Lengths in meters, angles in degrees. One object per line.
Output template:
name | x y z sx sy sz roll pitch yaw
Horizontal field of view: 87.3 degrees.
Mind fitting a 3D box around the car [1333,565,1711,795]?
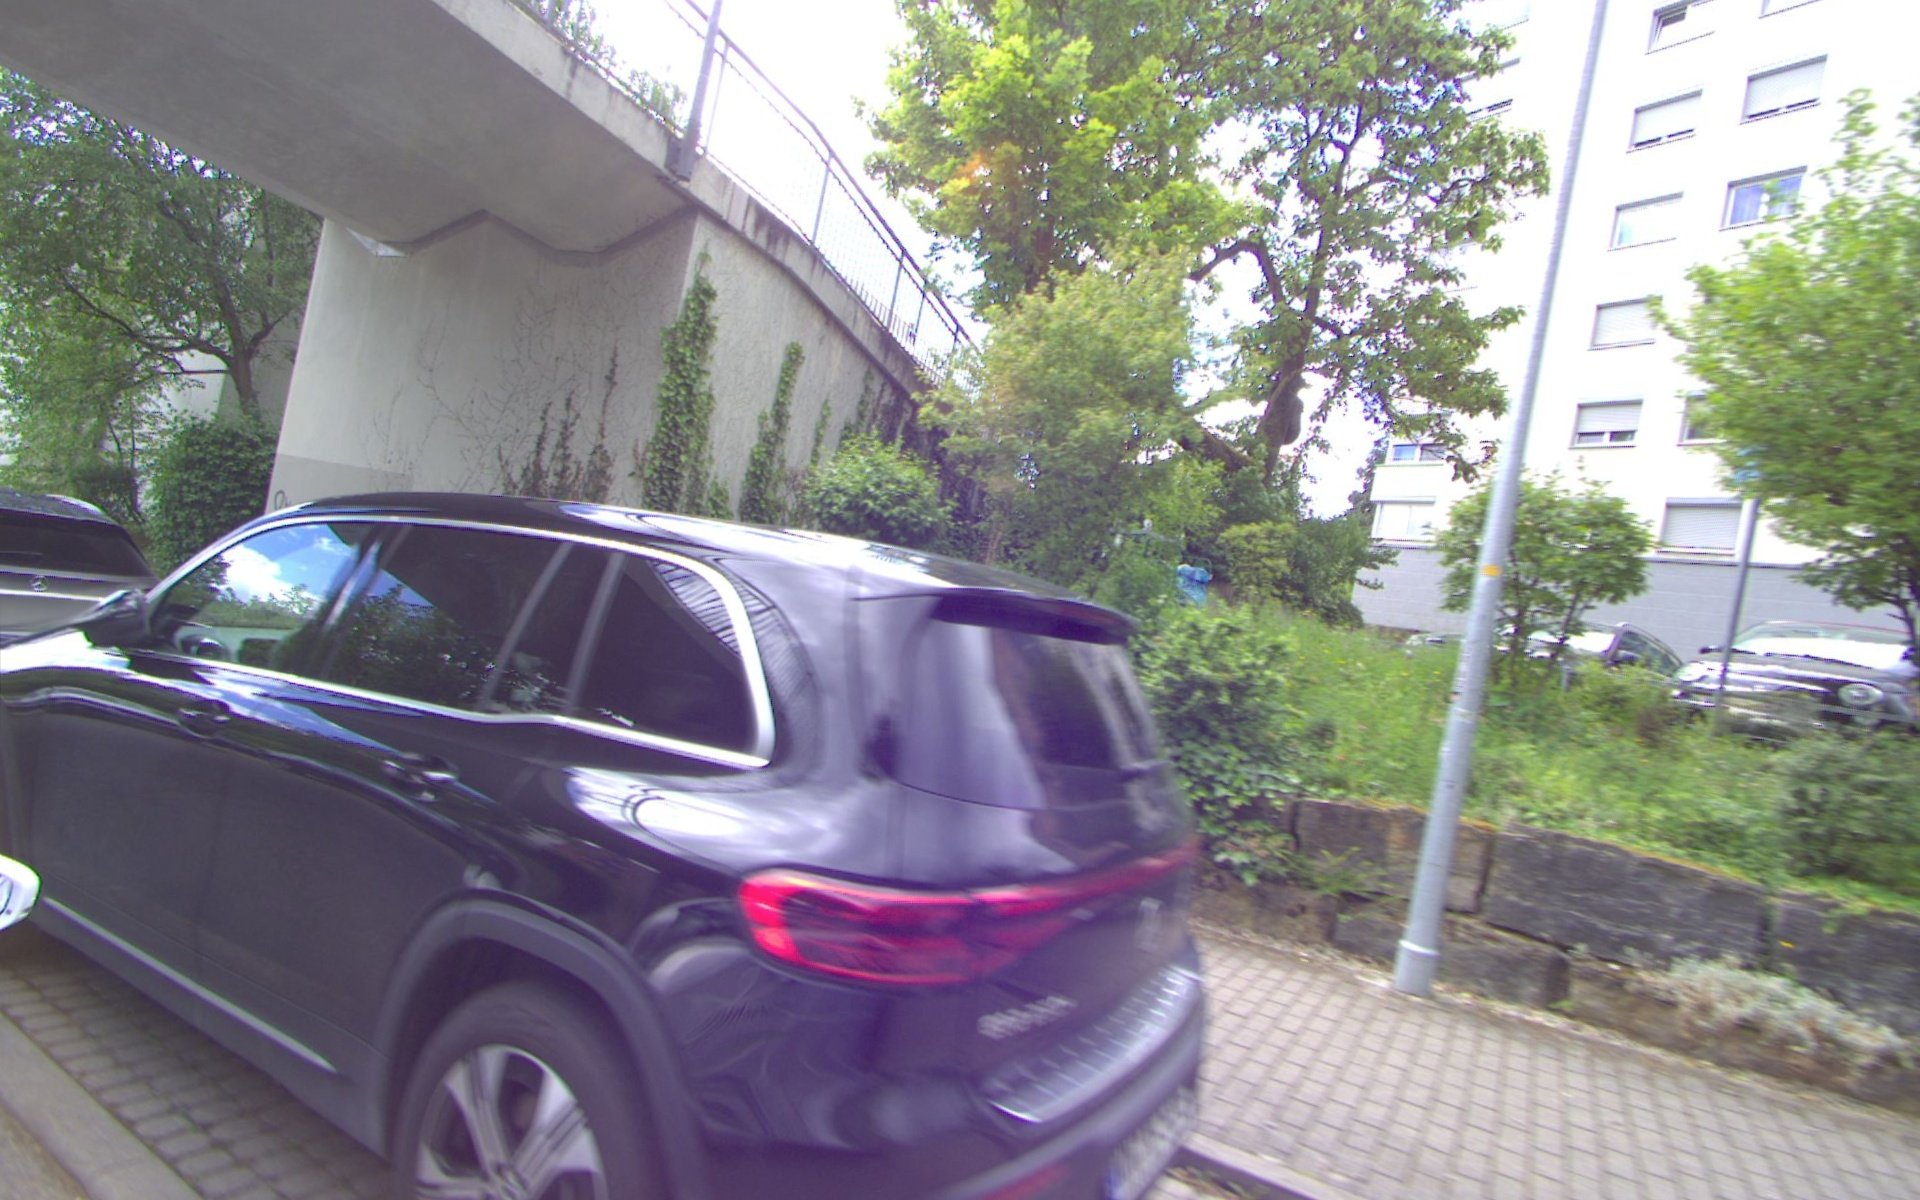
car | 6.221 0.943 10.899 4.531 1.686 1.923 13 -3 -39

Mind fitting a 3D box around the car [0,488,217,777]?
car | -6.714 -0.036 6.342 4.049 1.513 1.704 7 -2 31

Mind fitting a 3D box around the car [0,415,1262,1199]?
car | -1.521 0.521 3.207 4.295 1.698 1.818 8 -1 30

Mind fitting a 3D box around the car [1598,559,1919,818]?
car | 7.434 0.883 8.735 3.976 1.631 1.923 13 -3 -39
